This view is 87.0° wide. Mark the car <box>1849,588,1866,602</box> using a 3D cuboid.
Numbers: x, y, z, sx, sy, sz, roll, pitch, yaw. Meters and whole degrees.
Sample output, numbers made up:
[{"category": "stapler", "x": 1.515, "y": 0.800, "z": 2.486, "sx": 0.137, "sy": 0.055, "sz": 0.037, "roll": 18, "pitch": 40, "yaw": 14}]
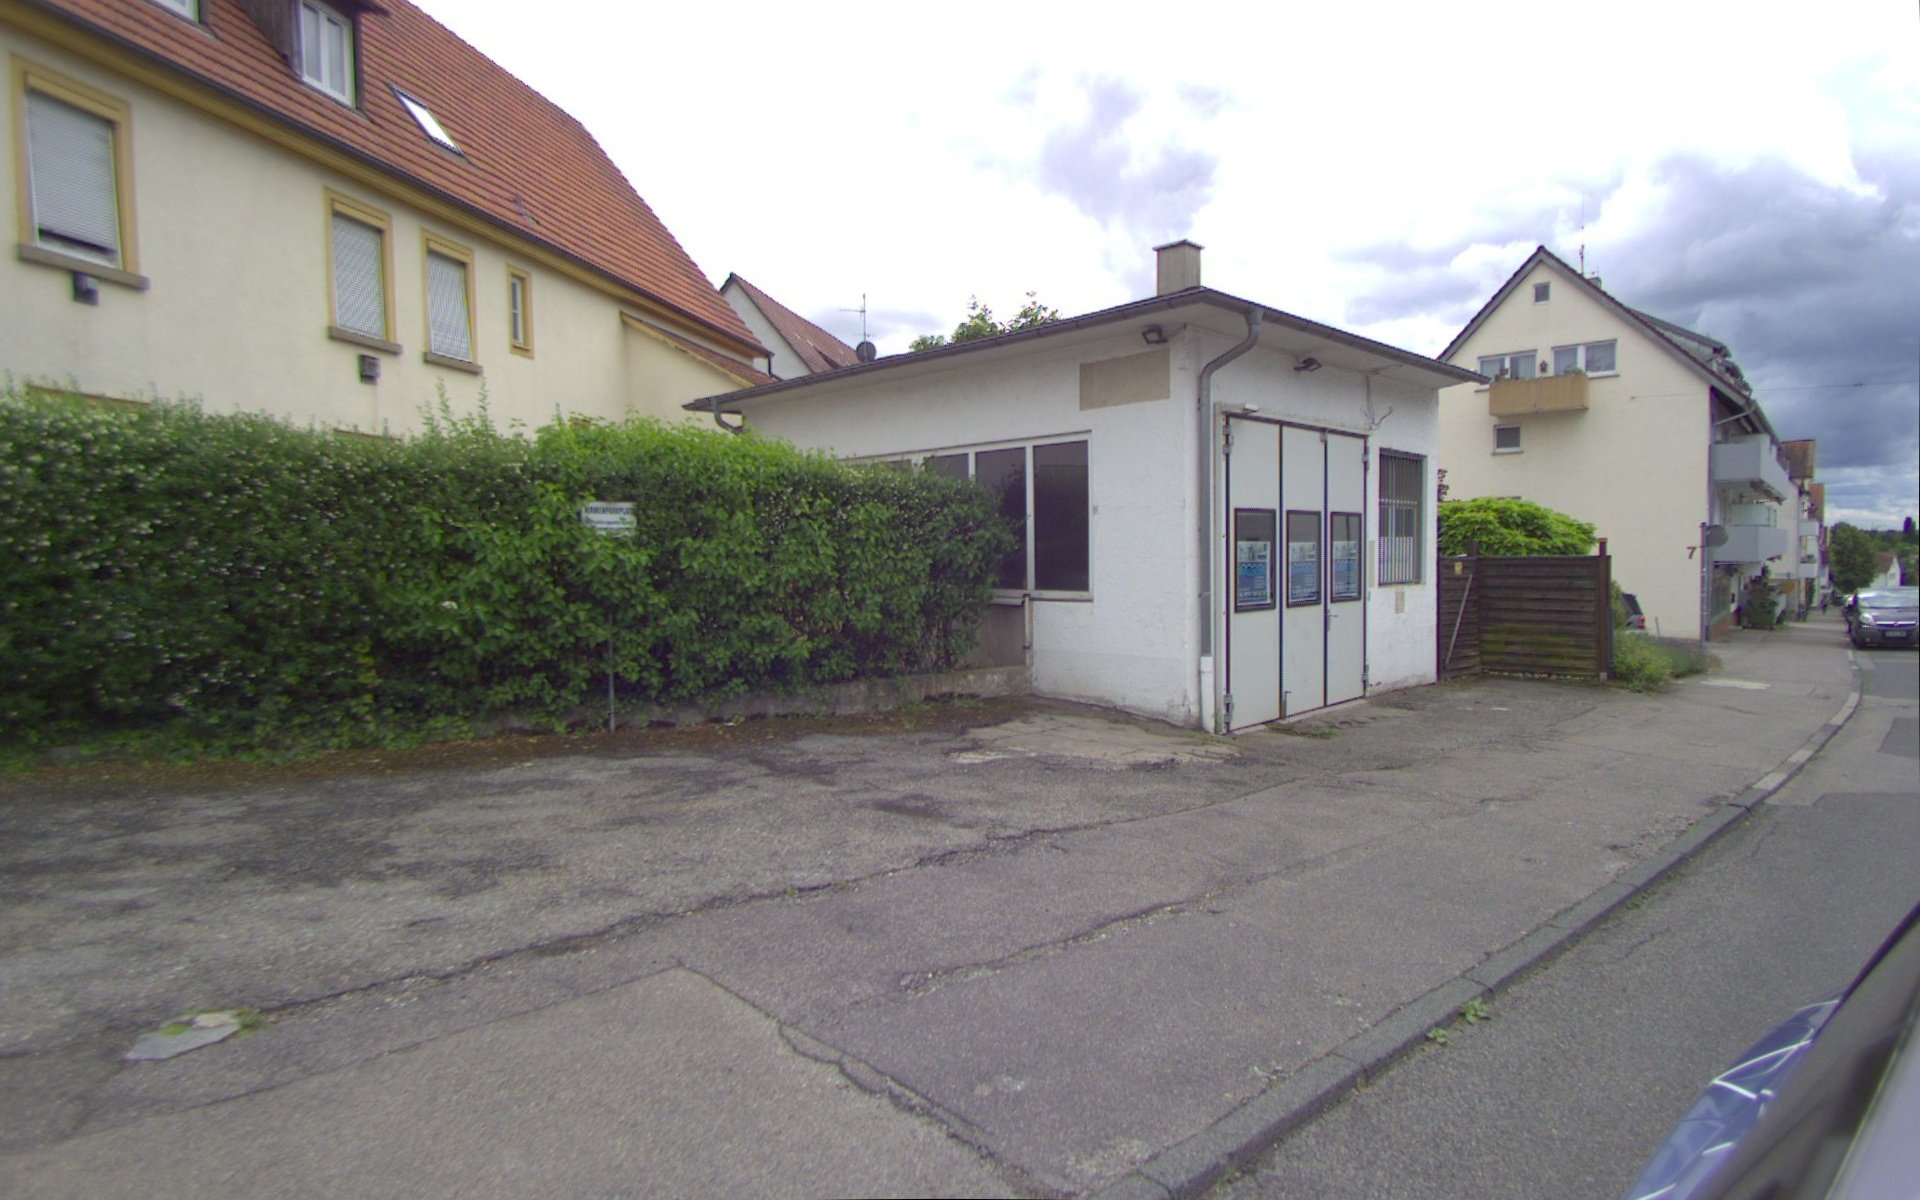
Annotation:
[{"category": "car", "x": 117.396, "y": -0.704, "z": 132.444, "sx": 1.607, "sy": 1.822, "sz": 3.802, "roll": -1, "pitch": 0, "yaw": 41}]

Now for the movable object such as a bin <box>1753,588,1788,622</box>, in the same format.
[{"category": "movable object such as a bin", "x": 34.967, "y": 0.216, "z": 43.647, "sx": 1.079, "sy": 1.455, "sz": 1.241, "roll": -1, "pitch": -1, "yaw": 42}]

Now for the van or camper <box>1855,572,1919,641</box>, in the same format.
[{"category": "van or camper", "x": 29.783, "y": 0.186, "z": 32.046, "sx": 1.991, "sy": 2.039, "sz": 4.989, "roll": -2, "pitch": -1, "yaw": 41}]

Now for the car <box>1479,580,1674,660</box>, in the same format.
[{"category": "car", "x": 13.072, "y": 0.375, "z": 21.690, "sx": 3.286, "sy": 1.538, "sz": 1.691, "roll": 2, "pitch": 1, "yaw": 23}]
